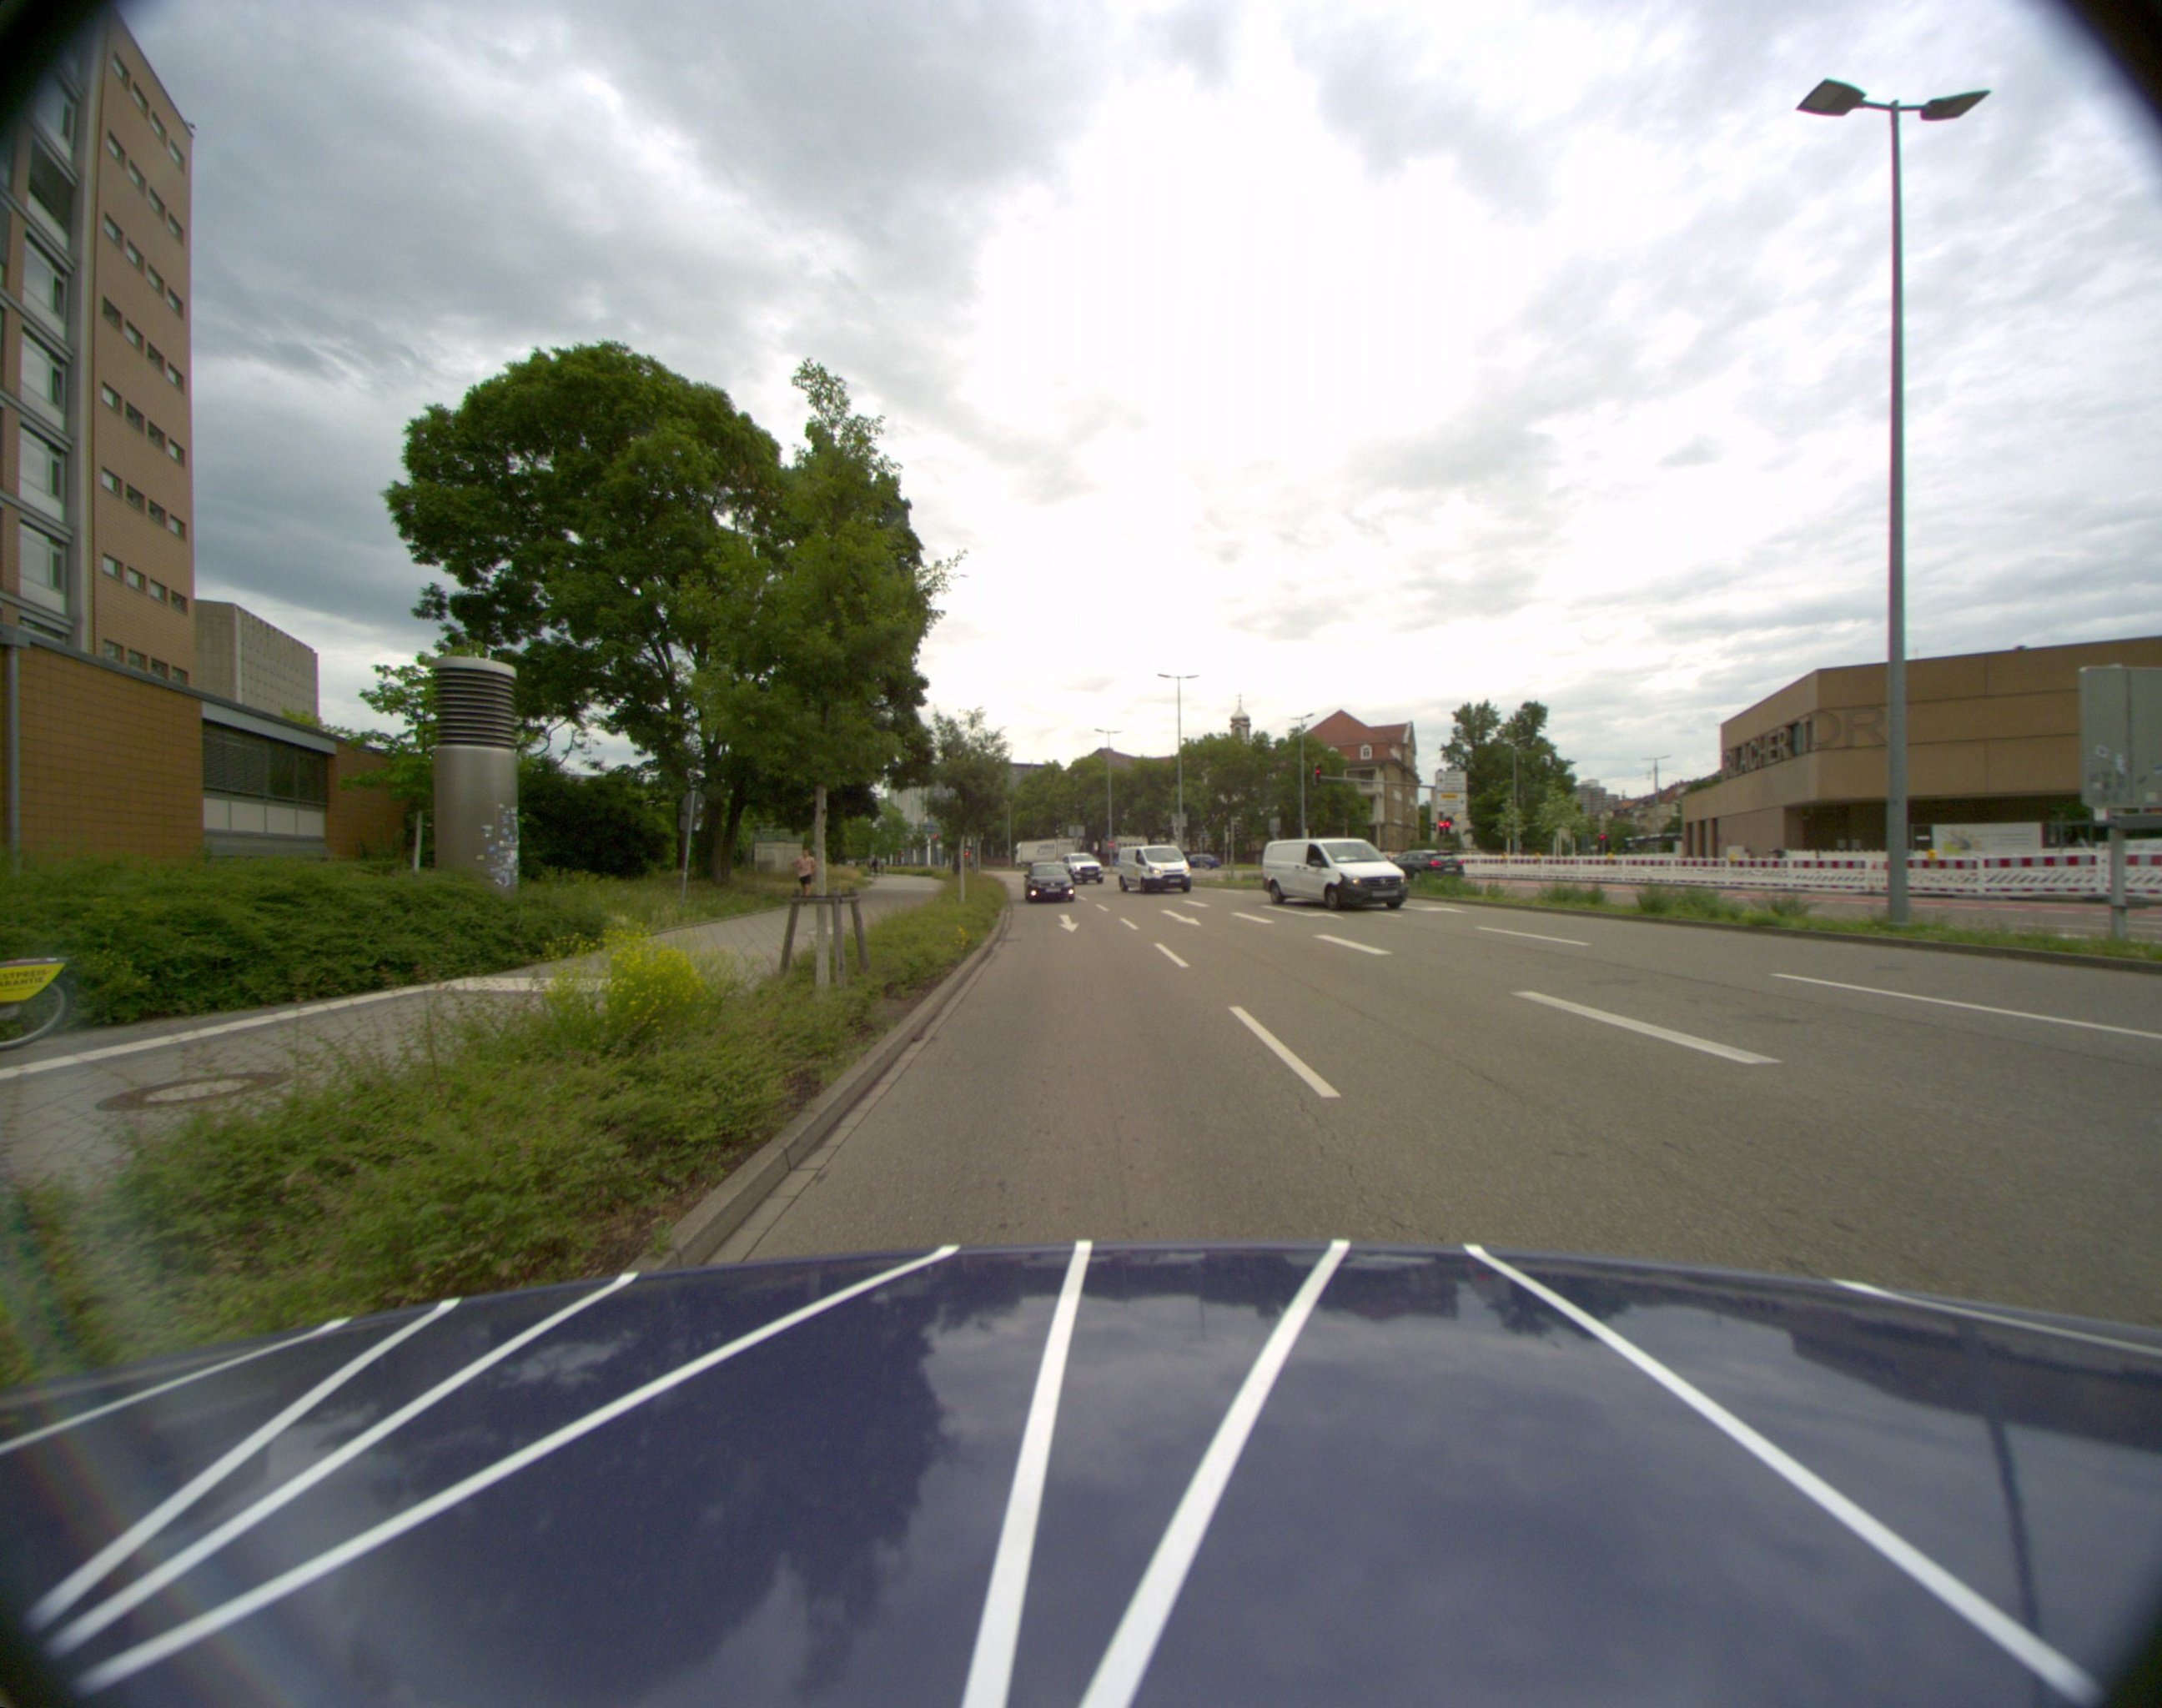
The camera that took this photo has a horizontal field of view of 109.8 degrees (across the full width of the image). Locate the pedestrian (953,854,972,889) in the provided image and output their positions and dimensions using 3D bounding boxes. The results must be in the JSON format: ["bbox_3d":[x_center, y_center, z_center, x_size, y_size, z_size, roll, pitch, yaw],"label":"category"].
[{"bbox_3d":[-6.161,0.888,39.574,0.723,1.790,0.596,2,1,-45],"label":"pedestrian"}]

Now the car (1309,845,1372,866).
[{"bbox_3d":[22.656,0.113,66.344,5.248,1.707,1.909,-1,0,-22],"label":"car"}]

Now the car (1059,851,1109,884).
[{"bbox_3d":[0.095,0.752,44.968,2.091,1.838,4.747,-1,0,-11],"label":"car"}]

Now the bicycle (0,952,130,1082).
[{"bbox_3d":[-8.133,1.216,5.121,0.557,0.843,2.076,-1,0,17],"label":"bicycle"}]

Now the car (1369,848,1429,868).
[{"bbox_3d":[25.917,0.286,61.988,4.350,1.531,1.910,-1,0,-18],"label":"car"}]

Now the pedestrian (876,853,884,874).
[{"bbox_3d":[-17.645,0.812,66.656,0.598,1.790,0.518,2,0,-21],"label":"pedestrian"}]

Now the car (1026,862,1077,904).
[{"bbox_3d":[-1.174,1.045,28.563,1.656,1.404,3.998,-1,0,-6],"label":"car"}]

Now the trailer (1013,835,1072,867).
[{"bbox_3d":[-5.422,-0.305,102.437,2.951,3.990,13.784,-2,0,-24],"label":"trailer"}]

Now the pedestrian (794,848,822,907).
[{"bbox_3d":[-8.541,0.721,23.797,0.631,1.790,0.597,2,0,-2],"label":"pedestrian"}]

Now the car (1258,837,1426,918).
[{"bbox_3d":[6.944,0.574,20.926,1.924,1.871,5.083,-2,0,-13],"label":"car"}]

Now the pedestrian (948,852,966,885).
[{"bbox_3d":[-7.039,0.825,42.995,0.723,1.790,0.596,2,1,-45],"label":"pedestrian"}]

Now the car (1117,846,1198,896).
[{"bbox_3d":[3.142,0.682,32.177,2.001,1.930,4.518,-1,0,-14],"label":"car"}]

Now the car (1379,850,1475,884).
[{"bbox_3d":[15.250,0.553,33.753,2.000,1.390,3.997,-1,0,-9],"label":"car"}]

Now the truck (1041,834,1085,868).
[{"bbox_3d":[-2.311,-0.367,95.332,2.917,4.001,7.147,-2,0,-24],"label":"truck"}]

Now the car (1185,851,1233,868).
[{"bbox_3d":[12.041,0.537,71.611,4.339,1.531,1.915,-1,0,13],"label":"car"}]
